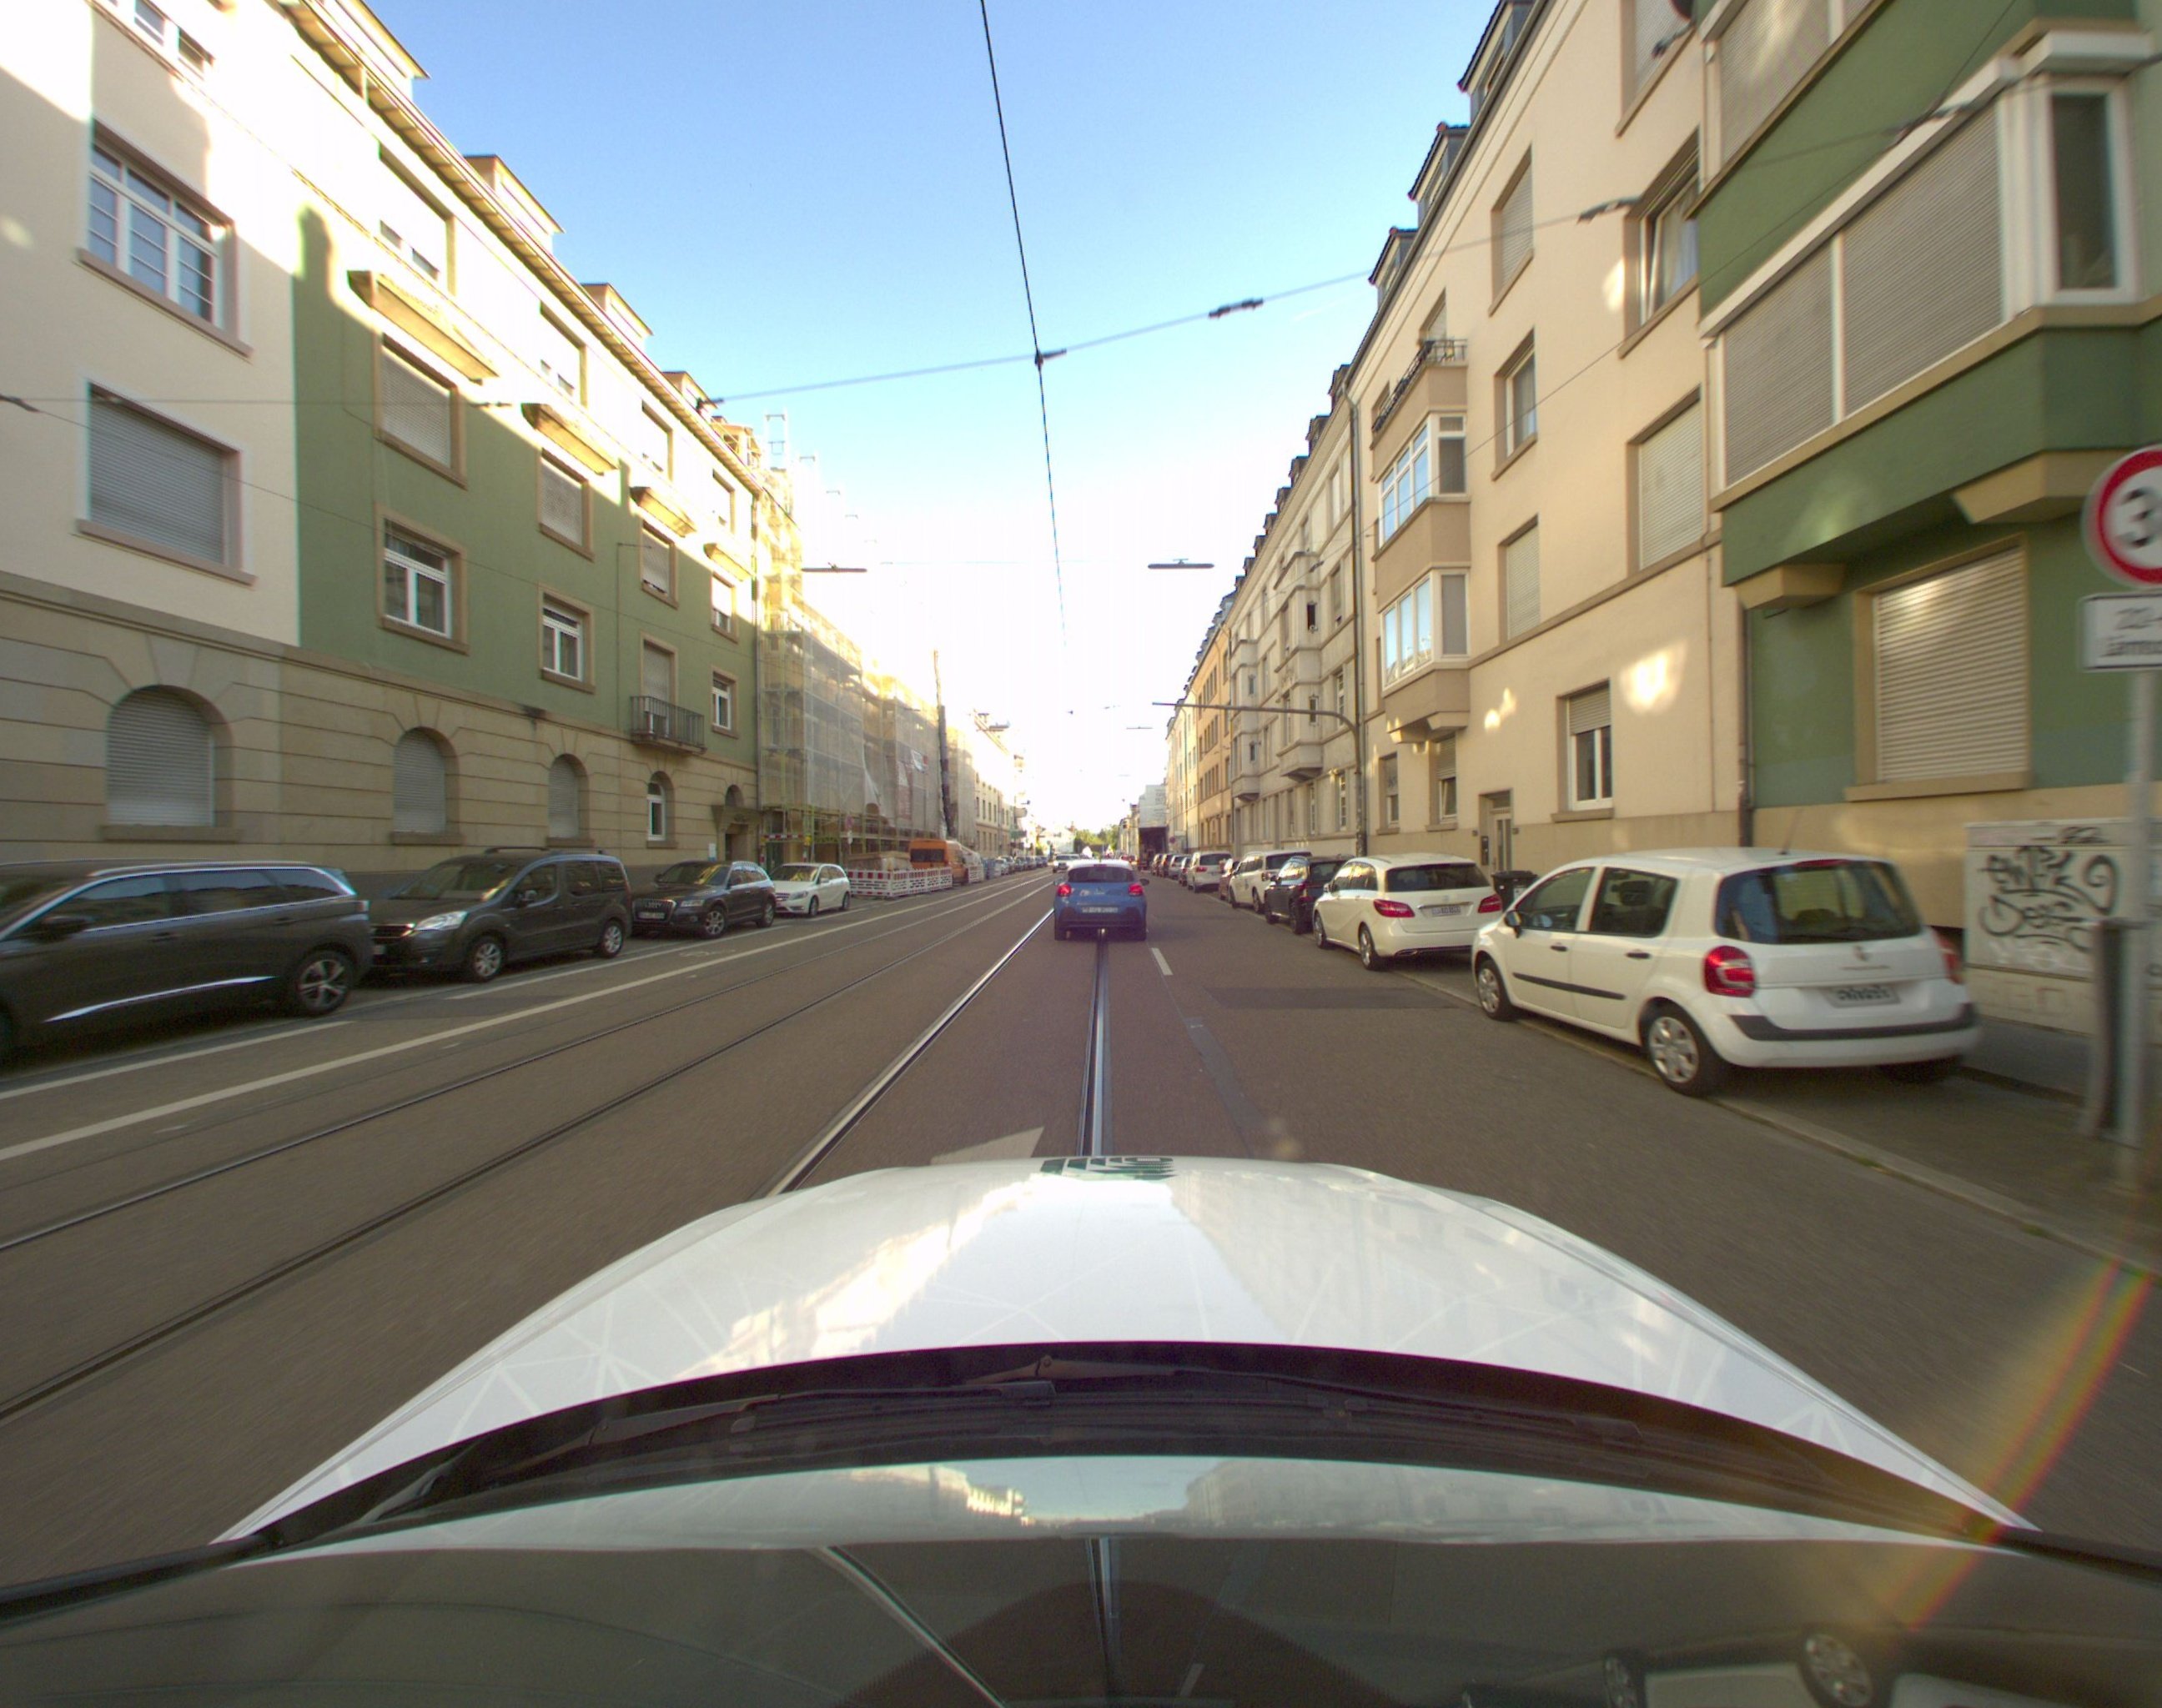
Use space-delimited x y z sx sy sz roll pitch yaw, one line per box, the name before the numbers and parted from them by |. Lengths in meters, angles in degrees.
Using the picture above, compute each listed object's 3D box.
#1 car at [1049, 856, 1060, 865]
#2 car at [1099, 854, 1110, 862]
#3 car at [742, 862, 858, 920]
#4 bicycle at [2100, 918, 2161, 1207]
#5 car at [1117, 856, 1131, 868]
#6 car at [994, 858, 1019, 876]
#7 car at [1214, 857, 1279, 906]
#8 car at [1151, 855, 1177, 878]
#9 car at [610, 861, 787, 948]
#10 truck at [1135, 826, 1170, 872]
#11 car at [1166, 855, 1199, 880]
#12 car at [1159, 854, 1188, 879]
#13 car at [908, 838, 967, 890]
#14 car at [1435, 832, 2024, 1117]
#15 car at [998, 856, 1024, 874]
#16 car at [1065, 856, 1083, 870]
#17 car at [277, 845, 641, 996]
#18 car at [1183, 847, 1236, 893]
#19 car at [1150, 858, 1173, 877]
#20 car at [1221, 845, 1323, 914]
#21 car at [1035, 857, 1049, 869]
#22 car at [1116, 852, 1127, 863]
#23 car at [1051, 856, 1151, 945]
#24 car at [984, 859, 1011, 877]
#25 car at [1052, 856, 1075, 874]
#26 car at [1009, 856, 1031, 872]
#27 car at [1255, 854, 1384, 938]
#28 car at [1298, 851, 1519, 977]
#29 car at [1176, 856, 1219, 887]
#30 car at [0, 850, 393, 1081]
car | -5.334 1.323 162.954 1.894 1.632 4.269 -1 0 2
car | 4.776 0.854 163.423 2.172 1.487 4.162 -1 0 2
car | -8.286 1.029 24.464 1.711 1.502 4.391 1 0 3
bicycle | 5.233 0.805 3.213 1.716 1.154 0.469 -4 0 2
car | 5.803 1.091 110.779 1.758 1.487 4.033 -1 0 2
car | -6.758 1.176 74.600 1.707 1.594 4.269 -1 0 2
car | 5.592 0.883 27.868 1.608 1.560 3.602 -1 0 2
car | 6.288 0.947 61.879 1.657 1.633 3.873 -1 0 2
car | -8.348 1.013 18.313 1.777 1.627 4.608 1 0 0
truck | 6.697 -0.428 77.591 2.841 4.083 11.279 -1 0 3
car | 6.297 0.811 50.950 1.657 1.519 4.224 -1 0 2
car | 6.289 0.827 55.856 1.657 1.647 4.224 -1 0 2
car | -7.323 0.493 42.081 2.138 2.475 4.979 -1 0 0
car | 4.645 0.712 6.752 1.777 1.632 4.002 -1 0 2
car | -7.087 1.100 82.593 2.137 1.621 4.001 -2 0 1
car | -0.751 1.034 96.246 1.894 1.632 4.269 -1 0 2
car | -8.841 0.811 12.224 1.776 1.816 4.531 1 0 3
car | 5.574 0.660 35.684 1.724 1.827 4.689 -1 0 2
car | 6.524 1.059 66.356 1.657 1.487 4.033 -1 0 2
car | 5.331 0.655 23.368 1.651 1.752 4.599 -1 0 -2
car | -5.494 1.216 114.736 1.820 1.632 3.904 -1 0 -1
car | 8.428 0.776 169.768 2.211 2.284 4.086 -1 0 2
car | 0.424 0.822 16.262 1.728 1.507 3.994 1 0 2
car | -7.141 1.183 70.078 1.707 1.518 4.049 -1 0 2
car | -1.584 0.989 76.250 1.819 1.632 4.492 -1 0 2
car | -6.608 1.040 88.361 1.819 1.632 4.851 -1 0 2
car | 5.003 0.796 17.648 1.648 1.566 4.340 -1 0 2
car | 4.739 0.769 12.530 1.777 1.576 4.328 -1 0 2
car | 5.867 0.848 41.392 1.716 1.487 4.224 -1 0 2
car | -8.933 0.830 7.157 1.777 1.690 4.667 1 0 0
